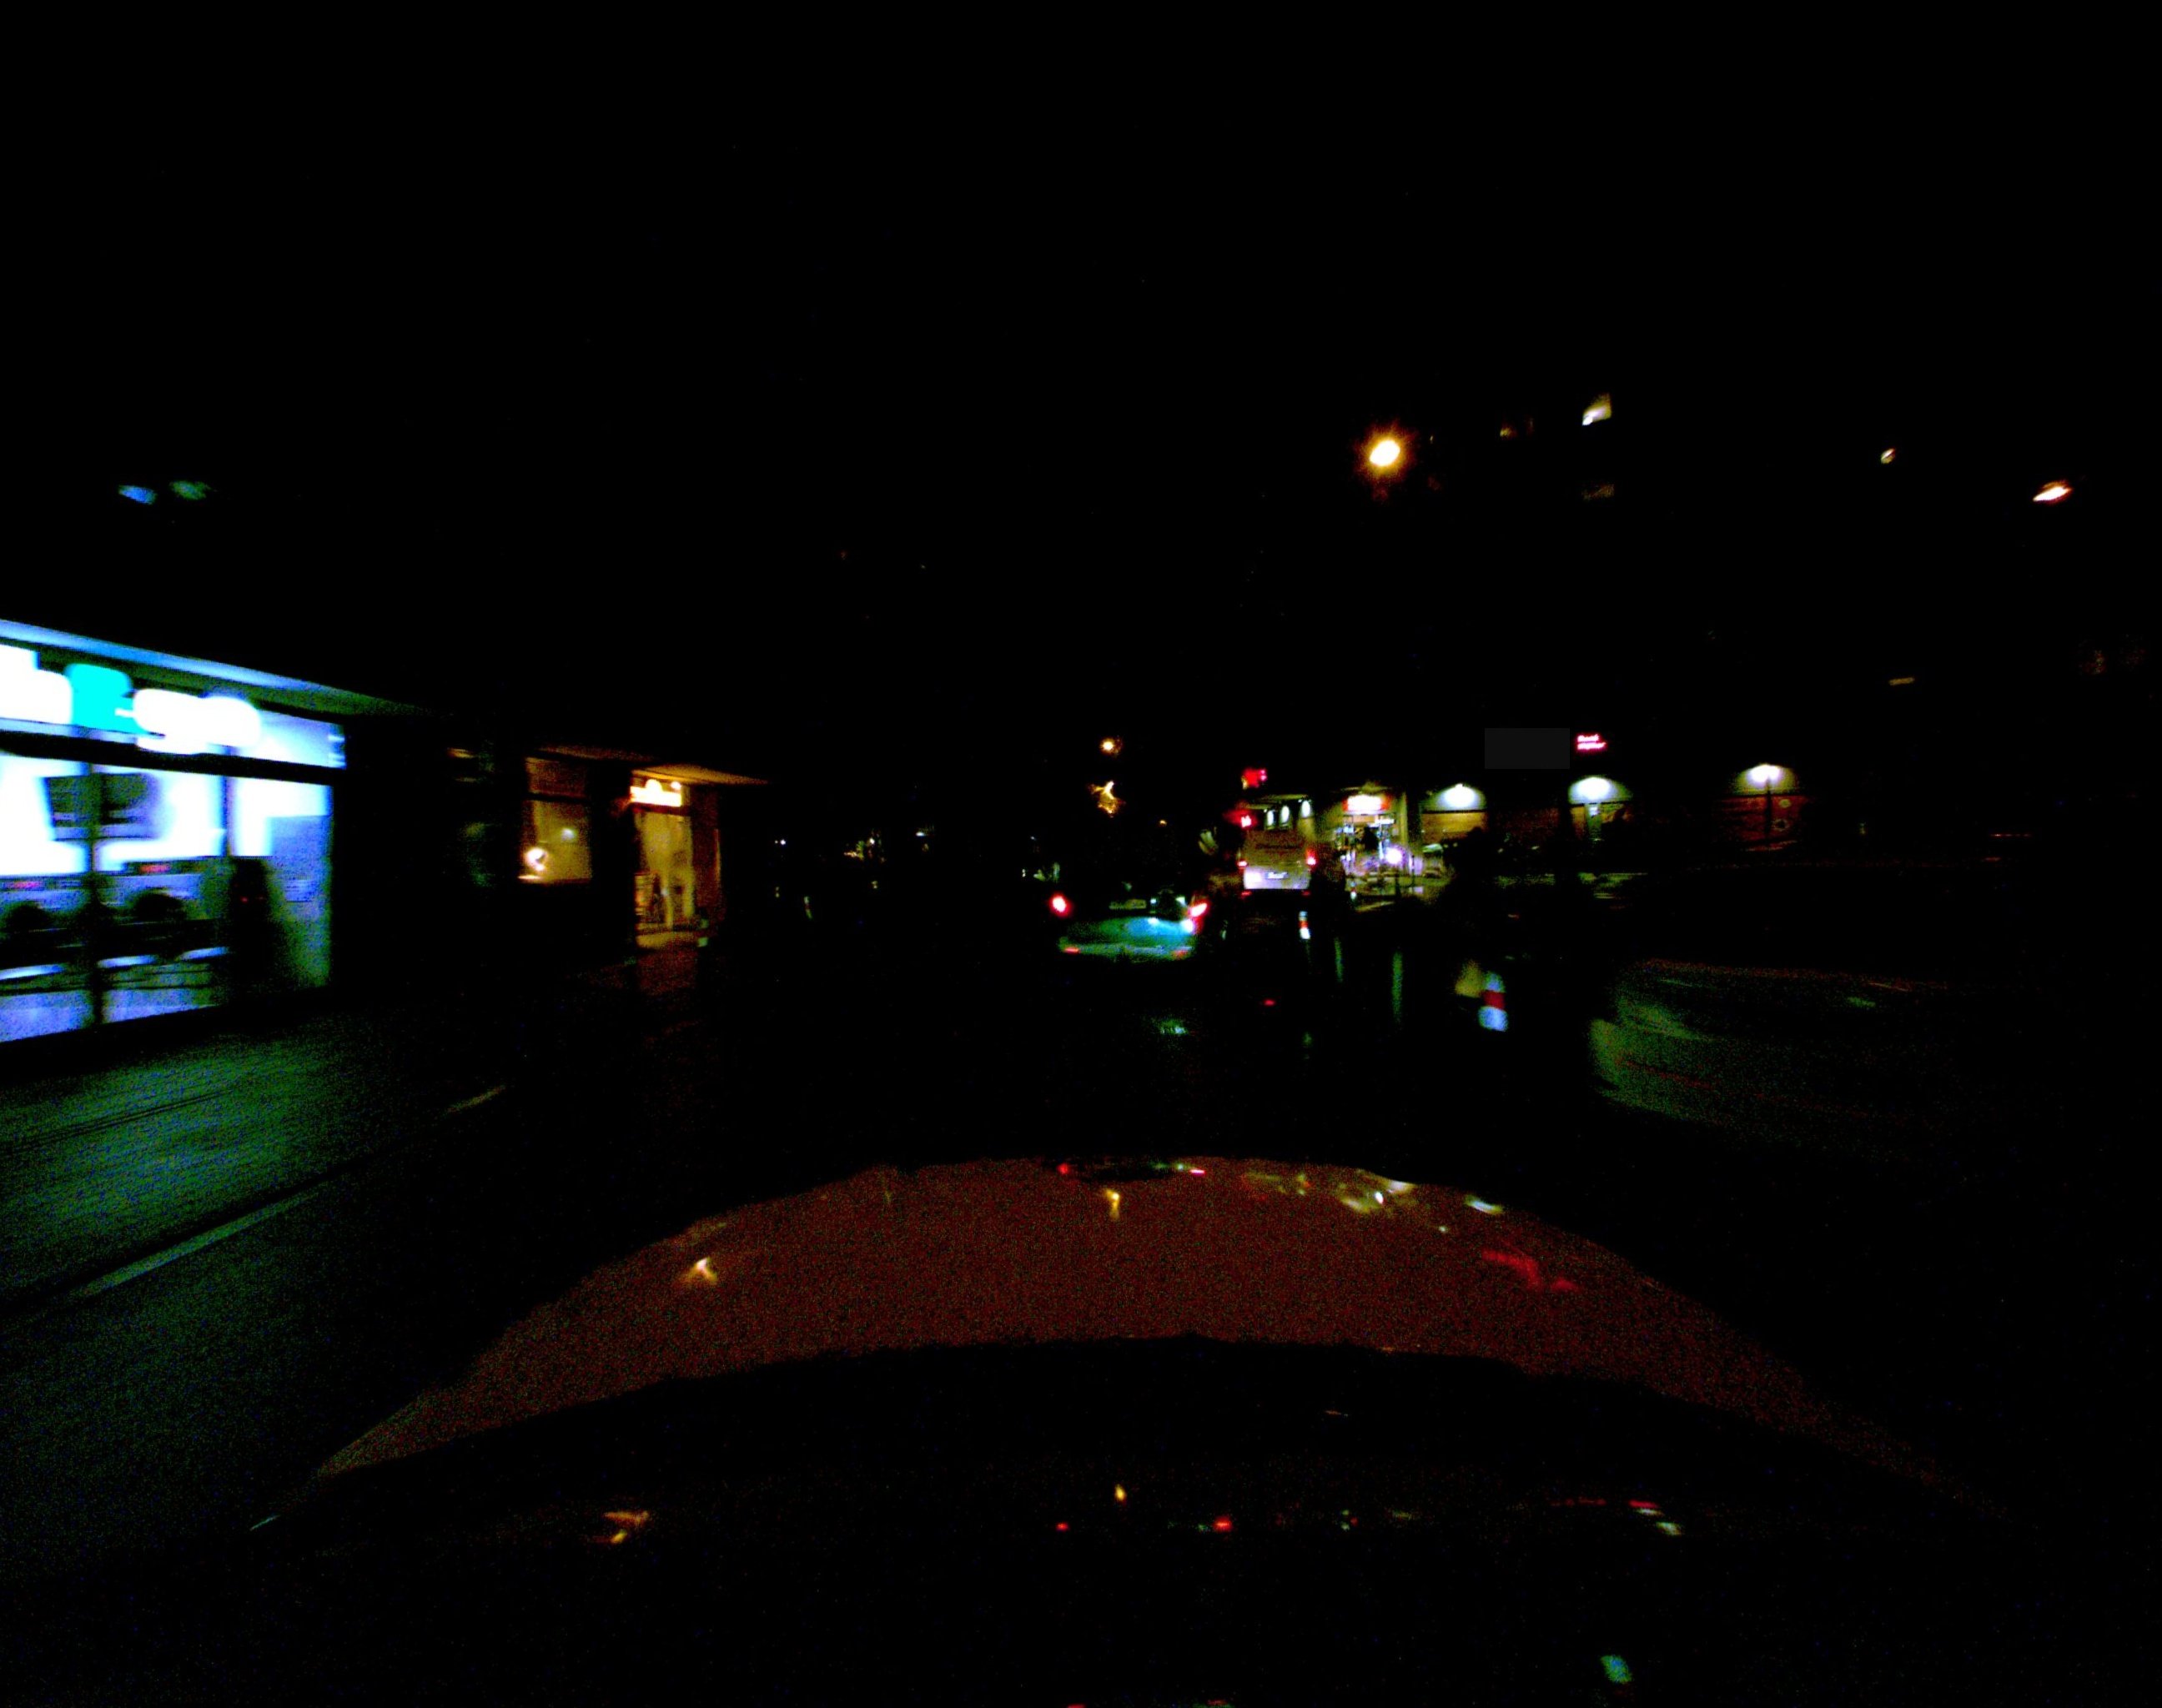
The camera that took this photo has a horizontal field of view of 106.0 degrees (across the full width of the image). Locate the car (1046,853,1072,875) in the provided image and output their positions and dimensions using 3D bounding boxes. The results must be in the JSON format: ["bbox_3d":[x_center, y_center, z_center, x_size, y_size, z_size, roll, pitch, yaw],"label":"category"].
[{"bbox_3d":[-1.504,0.699,56.517,1.580,1.449,3.505,-1,0,2],"label":"car"}]

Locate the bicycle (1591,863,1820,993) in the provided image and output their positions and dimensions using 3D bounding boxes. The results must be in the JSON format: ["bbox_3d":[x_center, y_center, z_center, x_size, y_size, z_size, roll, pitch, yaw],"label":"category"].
[{"bbox_3d":[5.560,0.624,7.377,0.336,1.026,1.633,-3,-1,-24],"label":"bicycle"}]

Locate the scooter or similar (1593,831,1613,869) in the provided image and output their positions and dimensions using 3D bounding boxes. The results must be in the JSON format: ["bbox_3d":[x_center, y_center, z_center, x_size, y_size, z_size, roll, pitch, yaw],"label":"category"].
[{"bbox_3d":[17.236,-0.132,26.906,0.520,1.229,1.321,0,1,32],"label":"scooter or similar"}]

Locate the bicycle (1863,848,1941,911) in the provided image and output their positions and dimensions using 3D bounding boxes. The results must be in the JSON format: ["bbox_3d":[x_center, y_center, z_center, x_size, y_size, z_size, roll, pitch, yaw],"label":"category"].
[{"bbox_3d":[14.379,0.423,14.307,0.398,1.008,1.821,-2,1,27],"label":"bicycle"}]

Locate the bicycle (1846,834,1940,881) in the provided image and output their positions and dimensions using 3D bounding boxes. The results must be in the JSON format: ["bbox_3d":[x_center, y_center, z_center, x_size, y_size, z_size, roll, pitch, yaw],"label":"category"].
[{"bbox_3d":[20.527,0.081,20.599,1.953,1.176,0.452,0,-1,-1],"label":"bicycle"}]

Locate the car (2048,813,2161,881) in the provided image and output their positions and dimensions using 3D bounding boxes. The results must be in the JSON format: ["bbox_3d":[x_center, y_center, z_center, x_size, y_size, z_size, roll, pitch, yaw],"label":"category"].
[{"bbox_3d":[25.976,-0.164,19.307,1.745,1.578,3.694,0,-1,1],"label":"car"}]

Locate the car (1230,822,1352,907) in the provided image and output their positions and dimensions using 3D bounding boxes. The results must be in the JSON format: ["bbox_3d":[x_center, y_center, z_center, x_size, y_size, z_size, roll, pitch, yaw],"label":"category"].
[{"bbox_3d":[5.548,0.234,21.001,2.103,1.922,4.854,-1,0,26],"label":"car"}]

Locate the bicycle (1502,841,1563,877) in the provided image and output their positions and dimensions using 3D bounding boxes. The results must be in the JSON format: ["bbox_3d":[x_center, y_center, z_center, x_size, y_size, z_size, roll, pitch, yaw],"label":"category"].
[{"bbox_3d":[15.106,0.175,27.273,1.764,1.174,0.386,-2,0,30],"label":"bicycle"}]

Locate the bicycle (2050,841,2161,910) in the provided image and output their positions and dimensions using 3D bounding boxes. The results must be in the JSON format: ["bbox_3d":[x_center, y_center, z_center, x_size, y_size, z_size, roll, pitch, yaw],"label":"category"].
[{"bbox_3d":[16.405,0.314,13.065,0.398,1.008,1.821,-2,1,27],"label":"bicycle"}]

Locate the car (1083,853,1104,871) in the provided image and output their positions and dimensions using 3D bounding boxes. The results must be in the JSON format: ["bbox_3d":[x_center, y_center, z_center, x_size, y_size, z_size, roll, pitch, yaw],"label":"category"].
[{"bbox_3d":[1.076,0.689,70.569,1.556,1.427,4.073,-3,0,3],"label":"car"}]

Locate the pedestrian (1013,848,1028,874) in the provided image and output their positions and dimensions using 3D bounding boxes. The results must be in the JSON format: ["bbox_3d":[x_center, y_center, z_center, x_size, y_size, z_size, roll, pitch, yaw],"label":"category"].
[{"bbox_3d":[-4.072,0.482,54.639,0.799,1.766,1.018,0,-1,8],"label":"pedestrian"}]

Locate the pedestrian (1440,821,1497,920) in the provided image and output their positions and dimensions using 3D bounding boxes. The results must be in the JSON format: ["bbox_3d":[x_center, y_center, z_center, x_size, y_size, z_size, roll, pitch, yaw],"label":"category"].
[{"bbox_3d":[7.105,0.292,14.965,0.820,1.771,0.602,-1,0,14],"label":"pedestrian"}]

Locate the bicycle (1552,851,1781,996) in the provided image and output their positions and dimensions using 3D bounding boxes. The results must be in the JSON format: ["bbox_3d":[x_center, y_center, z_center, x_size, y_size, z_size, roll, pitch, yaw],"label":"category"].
[{"bbox_3d":[4.970,0.536,7.041,0.336,1.092,1.633,-3,1,-24],"label":"bicycle"}]

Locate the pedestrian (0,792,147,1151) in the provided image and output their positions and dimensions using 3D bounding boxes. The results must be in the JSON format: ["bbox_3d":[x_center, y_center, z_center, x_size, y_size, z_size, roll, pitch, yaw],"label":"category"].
[{"bbox_3d":[-6.106,0.623,4.169,0.952,1.863,1.415,-2,0,1],"label":"pedestrian"}]

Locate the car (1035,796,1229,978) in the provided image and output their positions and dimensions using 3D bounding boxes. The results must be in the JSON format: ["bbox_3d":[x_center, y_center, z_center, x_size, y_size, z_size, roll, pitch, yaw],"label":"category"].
[{"bbox_3d":[0.832,0.376,11.341,2.111,1.991,4.610,-1,0,7],"label":"car"}]

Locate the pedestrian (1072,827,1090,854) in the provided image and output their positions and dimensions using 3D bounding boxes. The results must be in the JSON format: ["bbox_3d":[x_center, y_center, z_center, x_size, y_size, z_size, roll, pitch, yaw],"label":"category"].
[{"bbox_3d":[0.035,-0.926,55.508,1.117,1.811,0.715,-2,0,3],"label":"pedestrian"}]

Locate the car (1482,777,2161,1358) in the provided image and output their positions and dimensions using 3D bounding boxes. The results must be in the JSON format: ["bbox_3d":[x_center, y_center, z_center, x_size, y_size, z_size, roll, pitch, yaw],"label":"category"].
[{"bbox_3d":[4.209,0.491,3.982,4.272,1.573,1.756,-4,0,-27],"label":"car"}]

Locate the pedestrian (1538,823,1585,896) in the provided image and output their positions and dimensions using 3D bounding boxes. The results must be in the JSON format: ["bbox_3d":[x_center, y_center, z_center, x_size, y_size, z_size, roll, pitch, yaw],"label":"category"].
[{"bbox_3d":[12.444,0.145,21.070,0.867,1.833,0.990,-2,-1,38],"label":"pedestrian"}]

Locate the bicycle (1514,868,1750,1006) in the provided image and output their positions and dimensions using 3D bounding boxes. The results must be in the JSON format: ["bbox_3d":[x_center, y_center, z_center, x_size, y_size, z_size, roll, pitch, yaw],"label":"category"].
[{"bbox_3d":[4.594,0.682,6.930,0.337,1.027,1.631,-1,-4,-27],"label":"bicycle"}]

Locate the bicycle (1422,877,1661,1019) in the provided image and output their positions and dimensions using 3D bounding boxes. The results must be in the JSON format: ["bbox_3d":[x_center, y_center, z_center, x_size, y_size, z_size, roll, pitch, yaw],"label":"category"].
[{"bbox_3d":[3.736,0.750,6.737,0.338,1.026,1.626,-3,-1,-43],"label":"bicycle"}]

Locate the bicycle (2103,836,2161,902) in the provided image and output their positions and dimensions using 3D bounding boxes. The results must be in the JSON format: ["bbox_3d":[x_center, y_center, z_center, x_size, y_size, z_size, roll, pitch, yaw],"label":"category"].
[{"bbox_3d":[16.884,0.236,12.731,0.398,1.009,1.821,0,-1,27],"label":"bicycle"}]

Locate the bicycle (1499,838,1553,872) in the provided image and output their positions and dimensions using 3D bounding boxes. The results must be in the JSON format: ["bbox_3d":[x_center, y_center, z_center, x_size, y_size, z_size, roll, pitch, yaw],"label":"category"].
[{"bbox_3d":[15.506,0.043,28.398,1.626,1.174,0.386,0,-2,30],"label":"bicycle"}]

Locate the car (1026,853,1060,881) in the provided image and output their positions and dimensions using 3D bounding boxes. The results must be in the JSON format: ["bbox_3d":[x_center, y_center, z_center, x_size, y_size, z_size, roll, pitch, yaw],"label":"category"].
[{"bbox_3d":[-2.174,0.721,47.430,1.580,1.463,4.026,1,0,2],"label":"car"}]

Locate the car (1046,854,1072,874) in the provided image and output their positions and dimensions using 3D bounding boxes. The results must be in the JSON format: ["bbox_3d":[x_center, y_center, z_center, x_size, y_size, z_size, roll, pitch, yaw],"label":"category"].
[{"bbox_3d":[-1.677,0.737,62.817,1.683,1.400,4.319,-1,0,2],"label":"car"}]

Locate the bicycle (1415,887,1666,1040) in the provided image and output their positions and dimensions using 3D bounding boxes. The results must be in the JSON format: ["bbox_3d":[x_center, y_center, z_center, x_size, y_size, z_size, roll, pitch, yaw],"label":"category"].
[{"bbox_3d":[3.486,0.780,6.303,0.338,1.026,1.626,-3,1,-44],"label":"bicycle"}]

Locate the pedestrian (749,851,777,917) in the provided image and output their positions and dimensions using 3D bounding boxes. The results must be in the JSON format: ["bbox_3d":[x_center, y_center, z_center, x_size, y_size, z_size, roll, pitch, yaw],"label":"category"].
[{"bbox_3d":[-9.355,0.864,23.929,0.657,1.909,0.622,1,-1,-31],"label":"pedestrian"}]

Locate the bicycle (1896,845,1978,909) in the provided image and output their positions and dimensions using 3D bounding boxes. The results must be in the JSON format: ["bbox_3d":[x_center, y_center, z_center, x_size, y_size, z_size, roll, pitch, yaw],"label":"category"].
[{"bbox_3d":[14.768,0.365,14.091,0.375,1.008,1.821,-2,1,27],"label":"bicycle"}]

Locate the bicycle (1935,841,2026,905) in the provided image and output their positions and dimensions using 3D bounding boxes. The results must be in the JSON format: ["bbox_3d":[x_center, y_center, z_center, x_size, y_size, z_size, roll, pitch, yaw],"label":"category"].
[{"bbox_3d":[15.167,0.312,13.771,0.398,1.009,1.821,0,-1,27],"label":"bicycle"}]
